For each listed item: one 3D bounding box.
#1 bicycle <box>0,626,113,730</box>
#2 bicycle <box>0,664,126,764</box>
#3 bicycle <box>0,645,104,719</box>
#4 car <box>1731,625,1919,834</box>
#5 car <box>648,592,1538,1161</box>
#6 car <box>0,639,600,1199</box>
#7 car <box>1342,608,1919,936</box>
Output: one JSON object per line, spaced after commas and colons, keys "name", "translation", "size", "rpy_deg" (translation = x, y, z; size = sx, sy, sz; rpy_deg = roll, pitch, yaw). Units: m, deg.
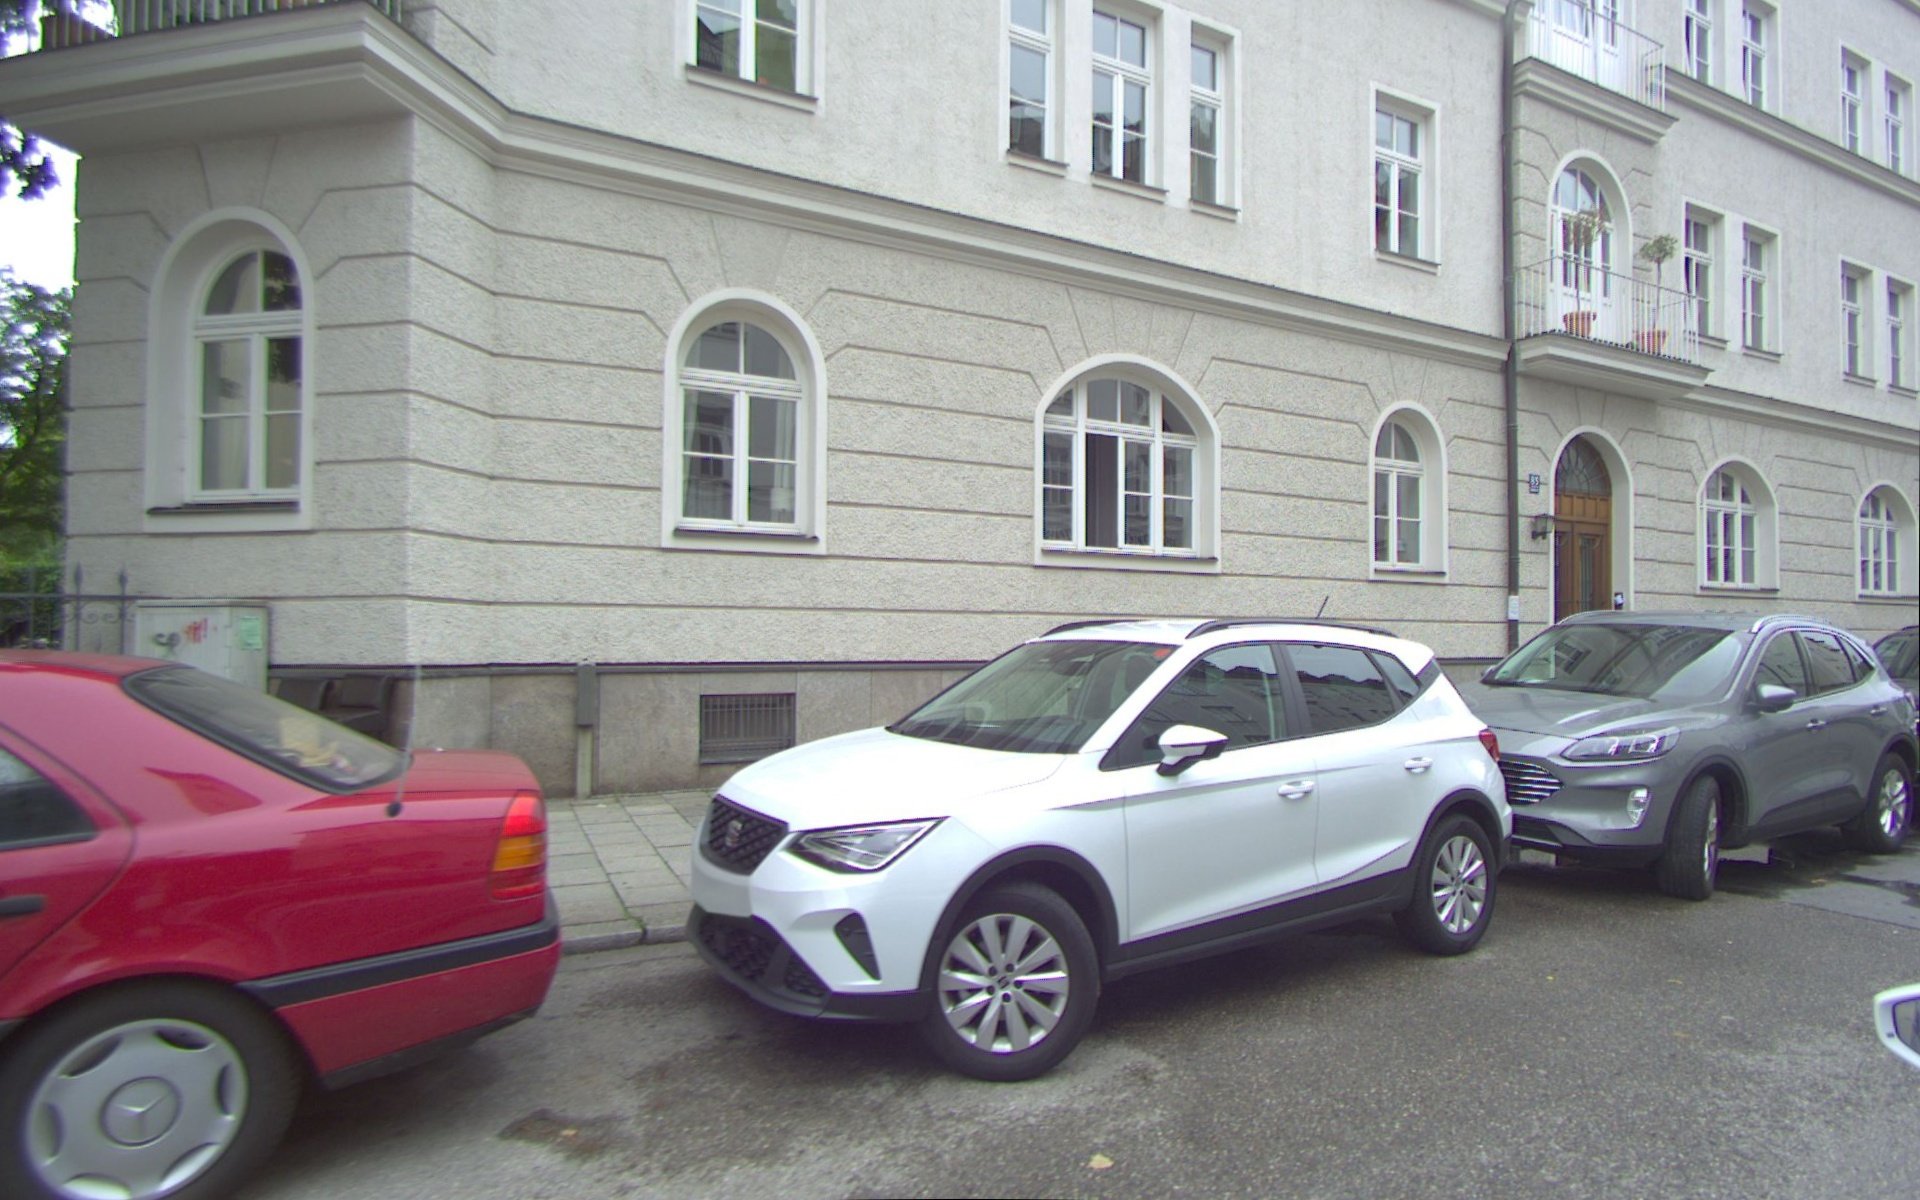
{"name": "bicycle", "translation": [-9.050, 0.645, 8.206], "size": [3.186, 0.869, 0.800], "rpy_deg": [1, -2, -36]}
{"name": "bicycle", "translation": [-9.561, 1.044, 8.958], "size": [3.186, 0.869, 0.812], "rpy_deg": [1, -2, -36]}
{"name": "bicycle", "translation": [-12.620, 1.066, 13.330], "size": [1.934, 0.912, 0.858], "rpy_deg": [0, -1, 9]}
{"name": "car", "translation": [9.237, 1.049, 9.128], "size": [4.377, 1.620, 1.869], "rpy_deg": [1, -2, -27]}
{"name": "car", "translation": [0.777, 0.851, 4.609], "size": [3.909, 1.588, 1.684], "rpy_deg": [2, -2, -33]}
{"name": "car", "translation": [-3.358, 0.810, 2.480], "size": [4.427, 1.411, 1.673], "rpy_deg": [1, -2, -31]}
{"name": "car", "translation": [4.833, 0.948, 7.073], "size": [4.163, 1.700, 1.828], "rpy_deg": [1, -2, -30]}
